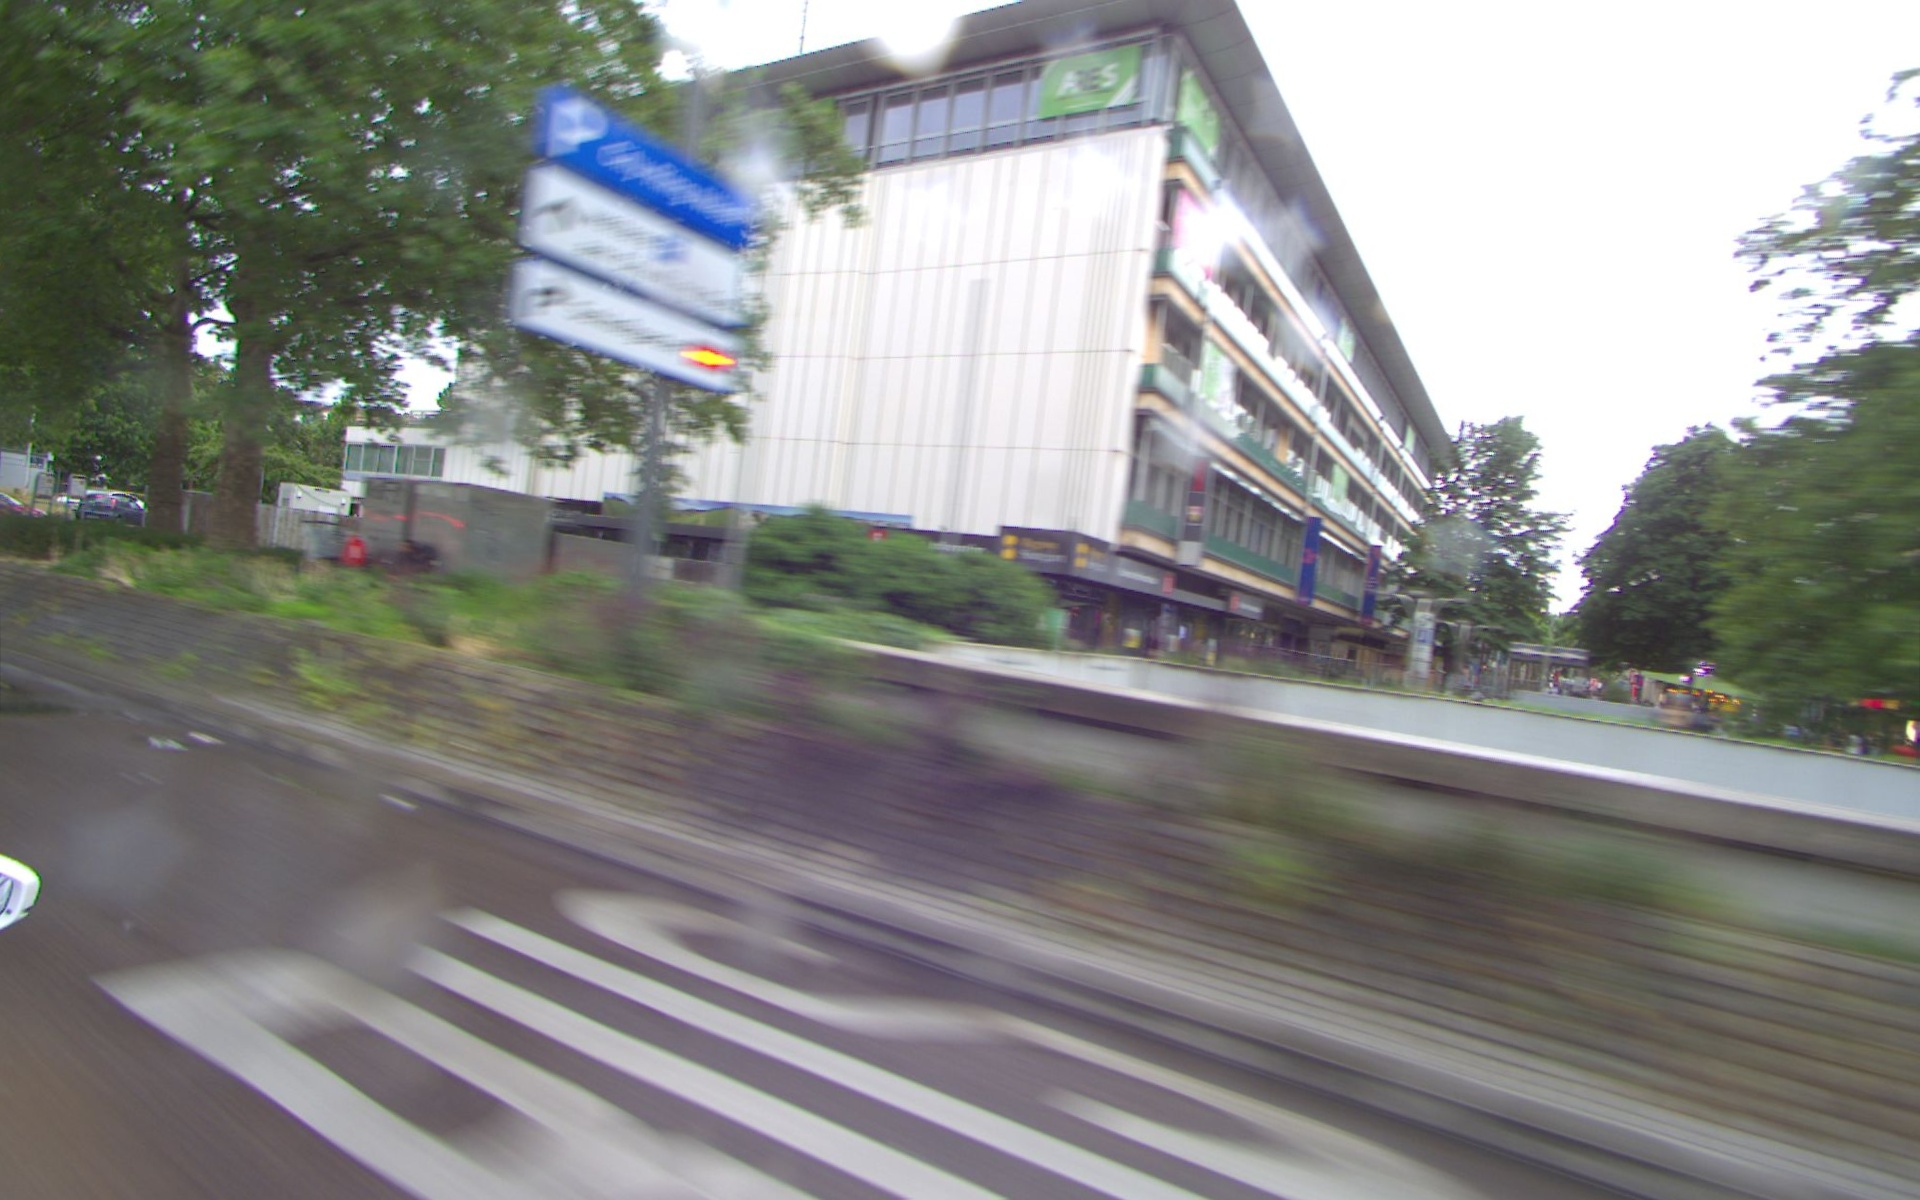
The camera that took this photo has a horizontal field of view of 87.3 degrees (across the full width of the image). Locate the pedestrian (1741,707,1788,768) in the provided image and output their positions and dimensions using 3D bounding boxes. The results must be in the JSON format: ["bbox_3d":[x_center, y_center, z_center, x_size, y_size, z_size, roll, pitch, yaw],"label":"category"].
[{"bbox_3d":[29.298,4.989,36.665,0.835,2.037,0.987,7,-1,15],"label":"pedestrian"}]

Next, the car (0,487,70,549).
[{"bbox_3d":[-27.639,-2.496,28.150,3.570,1.523,1.727,8,-2,-20],"label":"car"}]

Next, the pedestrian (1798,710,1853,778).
[{"bbox_3d":[28.224,4.672,32.814,0.835,2.037,0.987,7,-1,15],"label":"pedestrian"}]

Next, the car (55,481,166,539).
[{"bbox_3d":[-40.672,-4.236,48.341,2.101,2.036,4.637,8,-2,-15],"label":"car"}]

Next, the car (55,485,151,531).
[{"bbox_3d":[-46.627,-4.949,54.849,1.919,1.801,4.447,8,-2,-12],"label":"car"}]
